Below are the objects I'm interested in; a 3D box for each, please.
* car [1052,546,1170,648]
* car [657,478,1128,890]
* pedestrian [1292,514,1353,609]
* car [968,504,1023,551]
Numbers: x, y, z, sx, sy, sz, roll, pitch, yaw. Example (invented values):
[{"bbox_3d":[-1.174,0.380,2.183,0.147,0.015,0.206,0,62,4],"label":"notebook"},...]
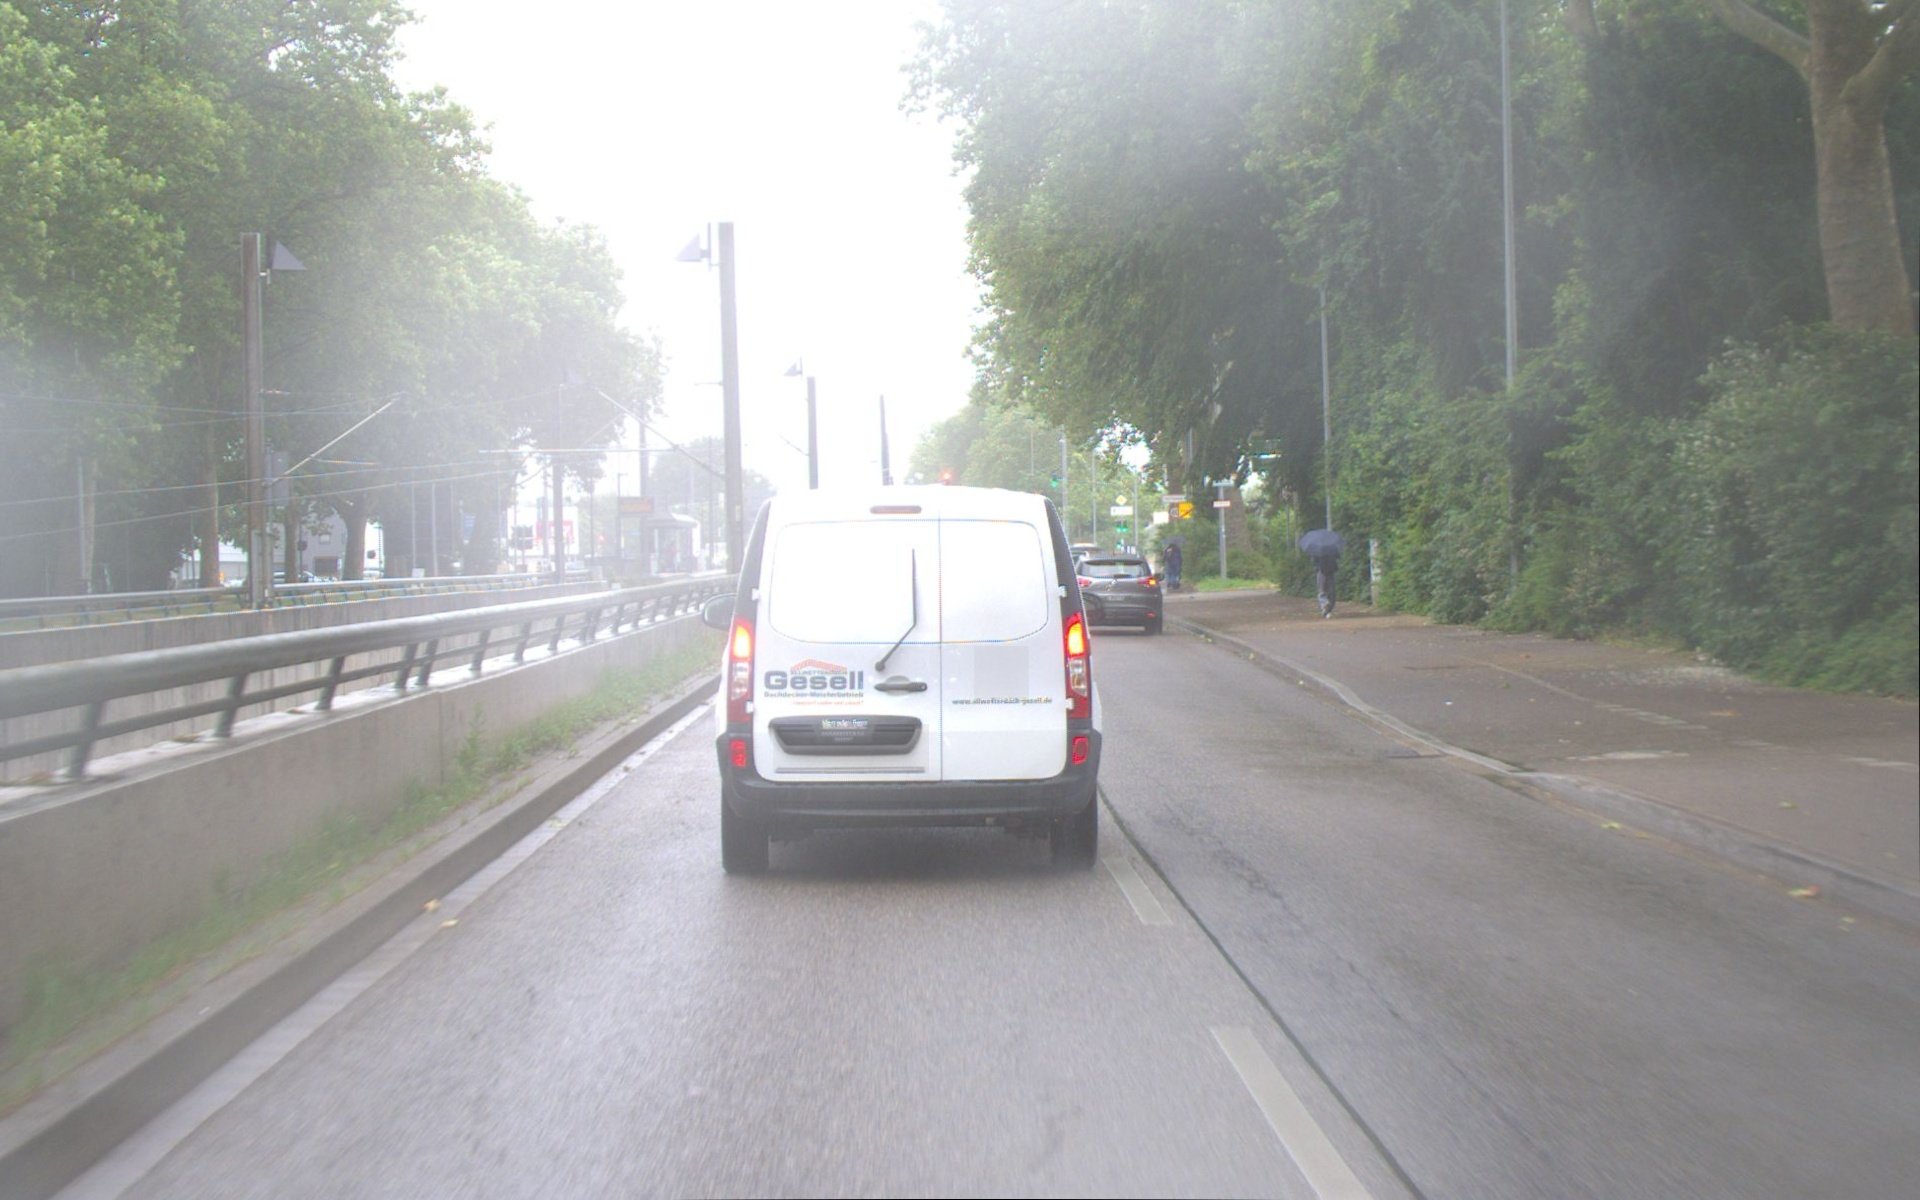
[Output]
[{"bbox_3d":[2.731,-0.077,61.268,1.994,1.744,4.000,1,1,4],"label":"car"},{"bbox_3d":[-0.334,0.336,17.062,2.025,1.769,4.274,1,1,-1],"label":"car"},{"bbox_3d":[6.570,-0.697,62.329,0.967,1.696,1.141,1,1,0],"label":"pedestrian"},{"bbox_3d":[1.356,-2.729,130.317,1.993,1.744,4.000,1,1,1],"label":"car"}]
